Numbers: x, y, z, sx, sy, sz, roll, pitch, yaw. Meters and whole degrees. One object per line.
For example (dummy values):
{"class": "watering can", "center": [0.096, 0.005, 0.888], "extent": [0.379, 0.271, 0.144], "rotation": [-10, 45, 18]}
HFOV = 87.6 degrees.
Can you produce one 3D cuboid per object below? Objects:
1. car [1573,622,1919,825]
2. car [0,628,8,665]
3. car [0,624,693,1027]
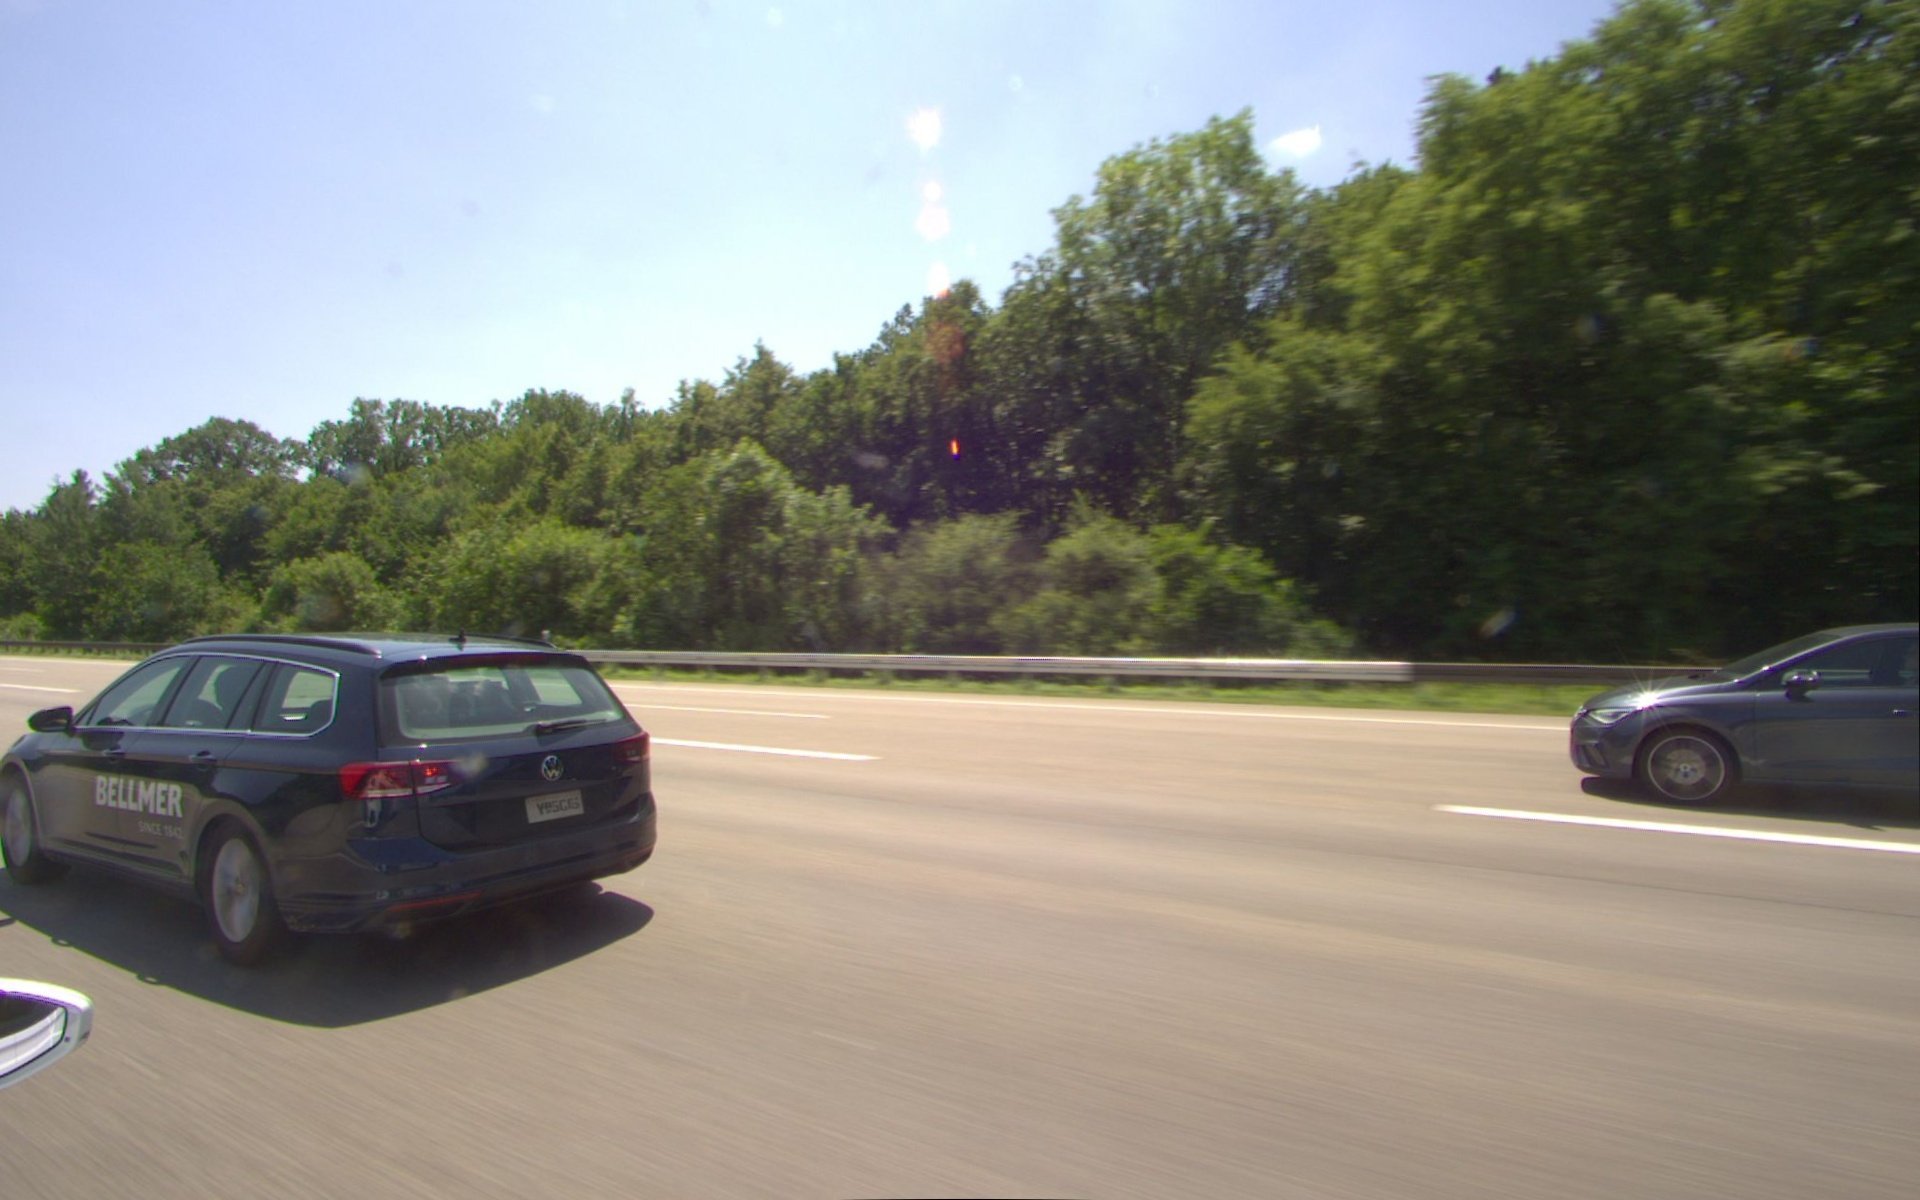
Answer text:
{"class": "car", "center": [7.462, 0.911, 7.816], "extent": [4.568, 1.457, 1.640], "rotation": [-1, -2, 32]}
{"class": "car", "center": [-35.883, 1.684, 35.848], "extent": [4.229, 1.290, 1.667], "rotation": [-2, -1, 33]}
{"class": "car", "center": [-3.883, 0.883, 5.776], "extent": [4.891, 1.466, 1.726], "rotation": [-1, -1, 33]}
